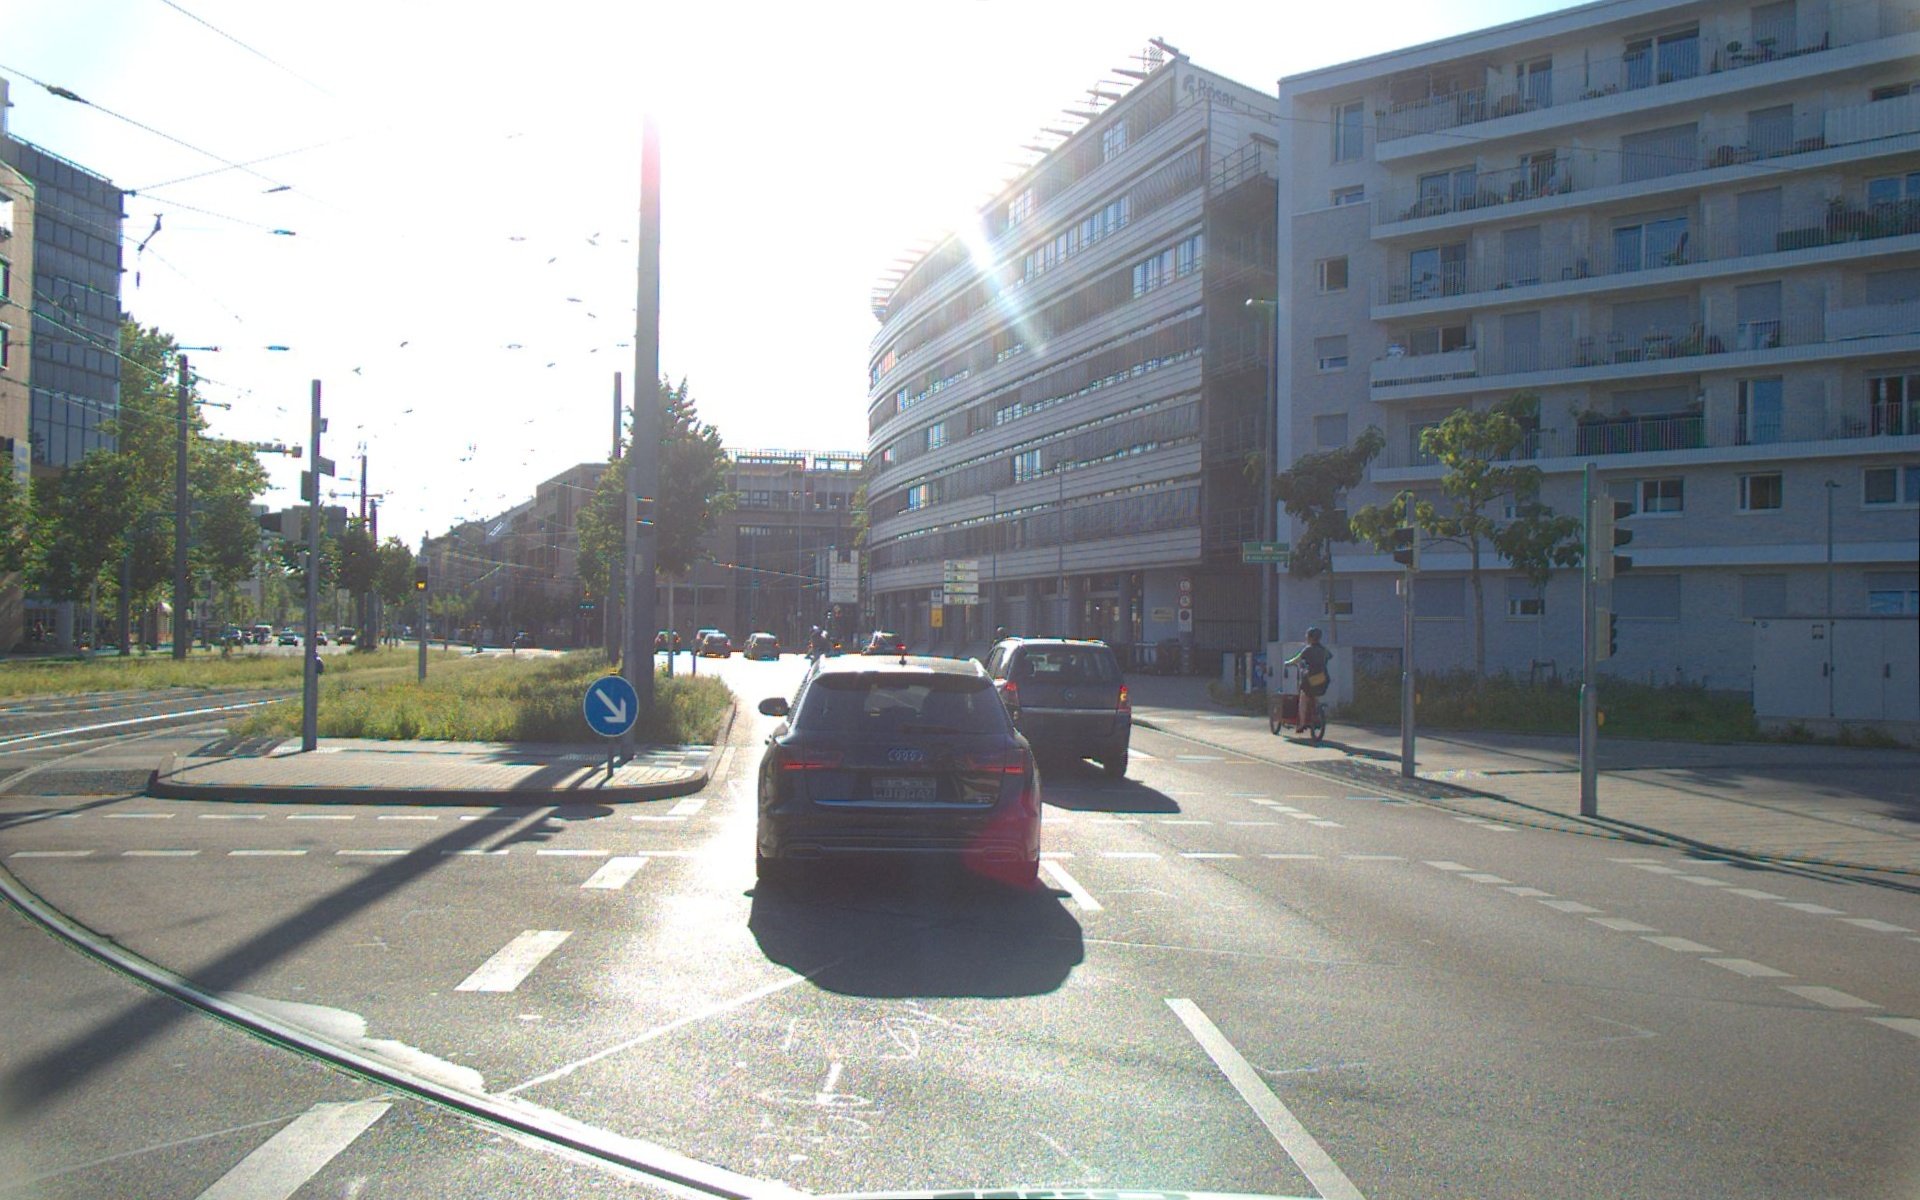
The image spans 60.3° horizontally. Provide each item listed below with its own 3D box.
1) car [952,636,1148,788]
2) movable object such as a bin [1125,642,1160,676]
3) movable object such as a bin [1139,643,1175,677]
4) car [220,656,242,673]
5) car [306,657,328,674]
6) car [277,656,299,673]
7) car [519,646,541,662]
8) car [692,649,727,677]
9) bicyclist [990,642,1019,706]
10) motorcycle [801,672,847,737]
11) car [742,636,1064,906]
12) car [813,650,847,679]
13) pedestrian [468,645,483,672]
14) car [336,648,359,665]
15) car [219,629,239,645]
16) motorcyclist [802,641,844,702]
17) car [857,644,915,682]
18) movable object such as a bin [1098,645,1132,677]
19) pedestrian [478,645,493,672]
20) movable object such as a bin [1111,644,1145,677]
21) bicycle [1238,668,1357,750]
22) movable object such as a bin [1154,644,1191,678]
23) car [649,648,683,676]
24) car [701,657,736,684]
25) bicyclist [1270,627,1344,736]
[{"bbox_3d":[1.049,1.386,21.450,1.713,1.726,4.252,2,-2,-8],"label":"car"},{"bbox_3d":[7.547,2.459,68.567,1.045,1.356,1.117,2,-4,-23],"label":"movable object such as a bin"},{"bbox_3d":[8.026,2.435,67.400,1.045,1.356,1.117,2,-4,-23],"label":"movable object such as a bin"},{"bbox_3d":[-73.725,6.507,167.344,1.967,1.714,3.969,2,-3,-24],"label":"car"},{"bbox_3d":[-66.880,6.782,171.995,1.967,1.714,3.969,2,-3,-24],"label":"car"},{"bbox_3d":[-69.472,6.676,171.062,1.967,1.714,3.969,2,-3,-24],"label":"car"},{"bbox_3d":[-48.855,6.157,187.859,1.965,1.736,3.974,2,-3,-21],"label":"car"},{"bbox_3d":[-16.549,4.189,109.301,1.959,1.736,3.985,1,-3,-13],"label":"car"},{"bbox_3d":[1.194,1.970,43.976,0.640,1.671,0.972,1,-2,8],"label":"bicyclist"},{"bbox_3d":[-3.073,2.330,37.161,0.847,1.418,1.889,2,-3,-9],"label":"motorcycle"},{"bbox_3d":[-0.305,1.060,11.614,1.804,1.479,4.000,3,-2,1],"label":"car"},{"bbox_3d":[-8.880,4.407,112.625,1.957,1.870,3.989,1,-3,-10],"label":"car"},{"bbox_3d":[-33.662,4.070,115.014,0.886,1.857,0.826,1,-4,-12],"label":"pedestrian"},{"bbox_3d":[-64.154,5.889,173.287,1.967,1.714,3.969,2,-3,-24],"label":"car"},{"bbox_3d":[-92.209,4.673,208.667,1.963,2.049,3.978,1,-2,-19],"label":"car"},{"bbox_3d":[-3.077,1.609,37.155,0.847,1.350,0.679,2,-3,-10],"label":"motorcyclist"},{"bbox_3d":[-3.757,3.138,82.929,1.970,1.745,4.355,3,-2,-15],"label":"car"},{"bbox_3d":[6.630,2.618,70.705,1.045,1.356,1.117,2,-4,-23],"label":"movable object such as a bin"},{"bbox_3d":[-32.812,4.029,114.317,0.886,1.857,0.826,1,-4,-12],"label":"pedestrian"},{"bbox_3d":[7.086,2.550,69.684,1.045,1.356,1.117,2,-4,-23],"label":"movable object such as a bin"},{"bbox_3d":[5.538,1.778,27.241,0.758,1.285,2.060,3,-3,-30],"label":"bicycle"},{"bbox_3d":[8.514,2.447,66.212,1.045,1.356,1.117,2,-4,-23],"label":"movable object such as a bin"},{"bbox_3d":[-19.323,4.096,108.630,1.959,1.736,3.985,1,-3,-13],"label":"car"},{"bbox_3d":[-15.058,4.404,102.974,1.957,1.624,3.989,1,-3,-10],"label":"car"},{"bbox_3d":[5.673,1.336,27.052,0.758,1.736,0.921,3,-3,-30],"label":"bicyclist"}]
